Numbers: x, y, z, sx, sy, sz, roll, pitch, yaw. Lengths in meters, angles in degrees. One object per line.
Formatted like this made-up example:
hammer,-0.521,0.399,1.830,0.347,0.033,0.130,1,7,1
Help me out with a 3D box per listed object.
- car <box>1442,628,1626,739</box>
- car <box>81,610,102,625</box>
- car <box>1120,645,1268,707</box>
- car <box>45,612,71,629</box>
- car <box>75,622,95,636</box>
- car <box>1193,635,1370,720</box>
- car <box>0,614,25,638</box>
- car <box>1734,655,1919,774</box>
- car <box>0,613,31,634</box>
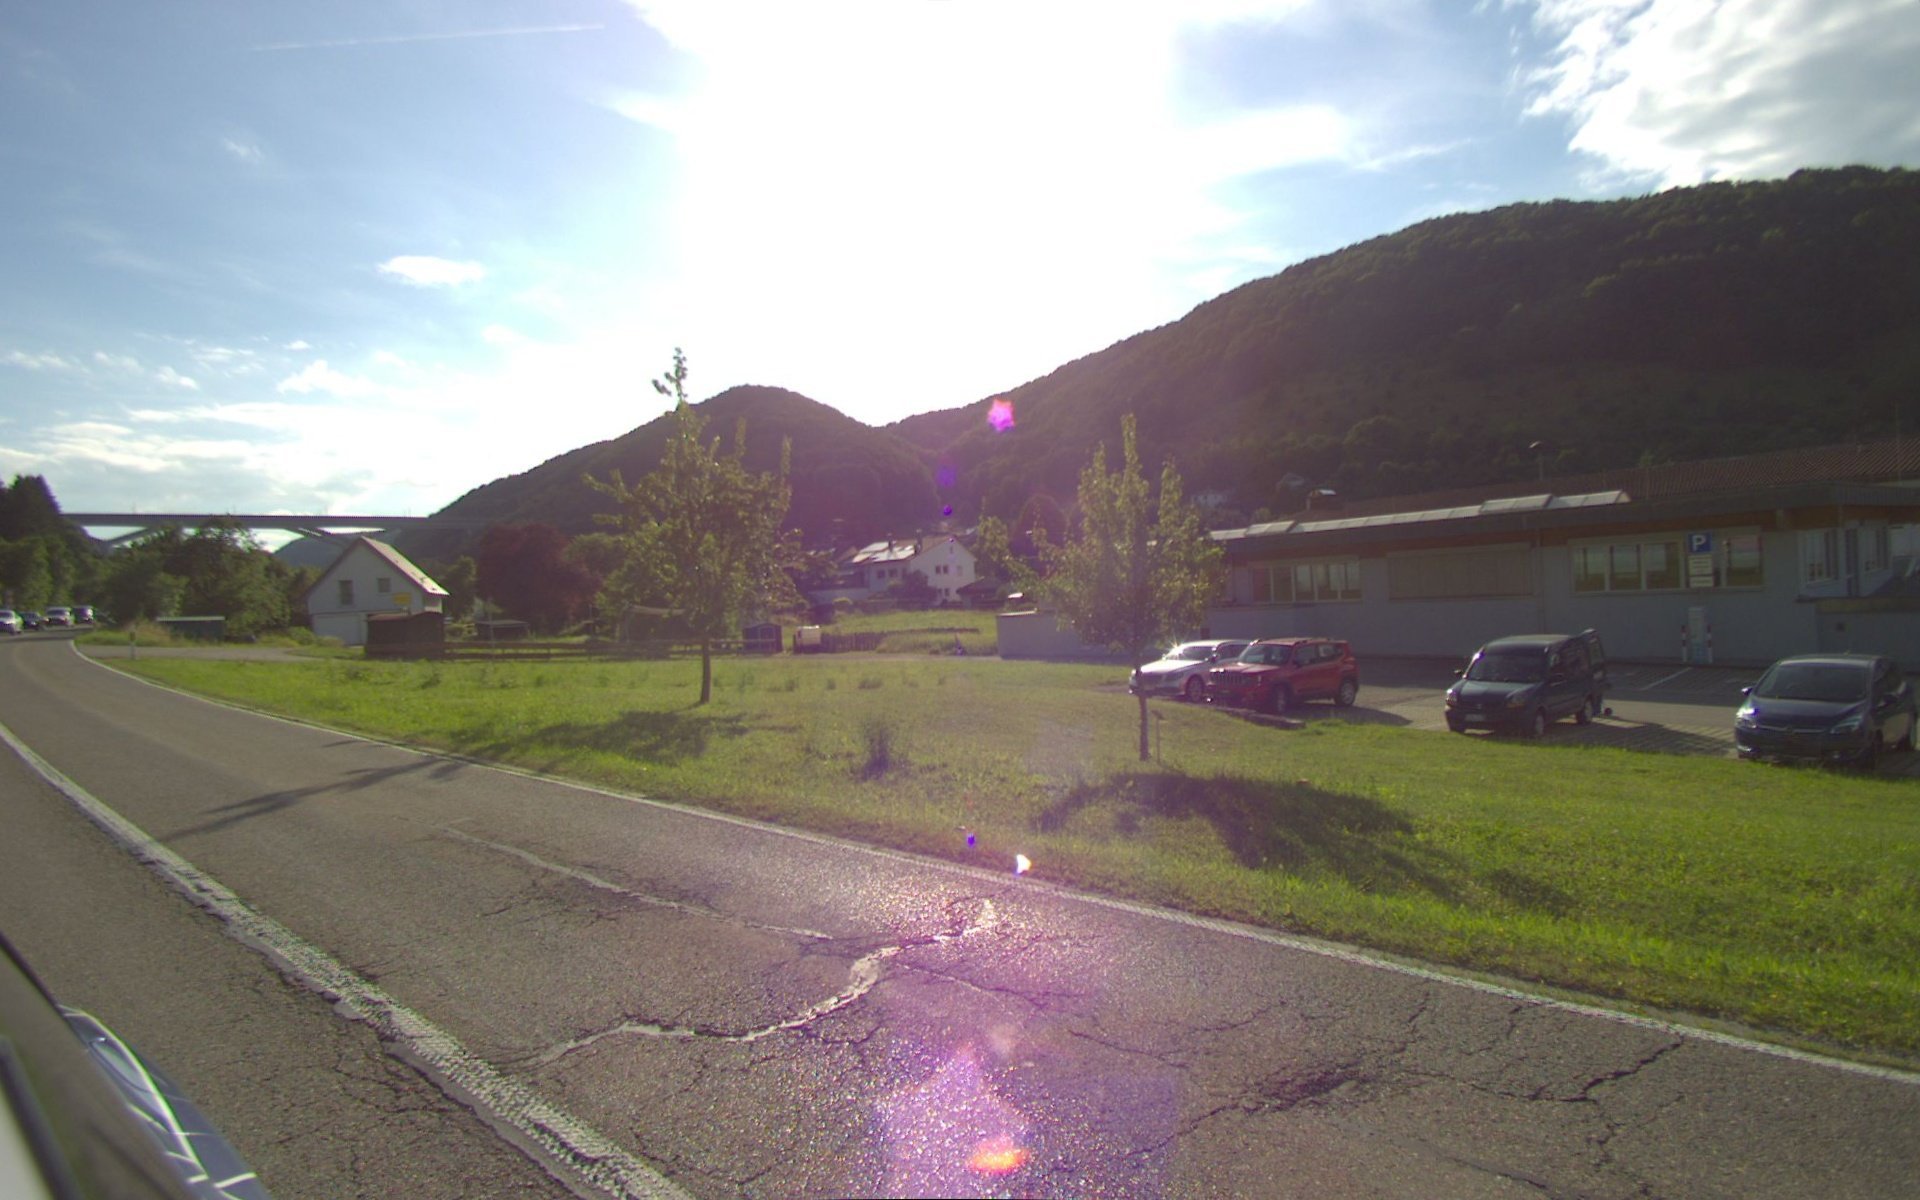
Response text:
car,11.560,1.544,20.216,4.930,1.807,1.687,-1,0,-41
car,-90.205,1.786,105.105,1.606,1.490,3.685,-1,0,-40
car,6.233,1.949,26.828,3.836,1.379,1.856,0,0,-38
car,-81.501,1.810,91.400,1.607,1.490,3.682,-1,0,-44
car,-98.419,3.288,113.891,1.606,1.490,3.685,-1,0,-40
car,7.742,1.780,24.238,4.263,1.682,1.852,-1,0,-35
car,-62.613,1.709,66.374,3.679,1.490,1.608,0,0,43
car,13.751,1.689,15.931,3.958,1.463,1.687,-1,-2,-41
car,-72.429,1.774,77.597,1.606,1.490,3.685,-1,0,-40
